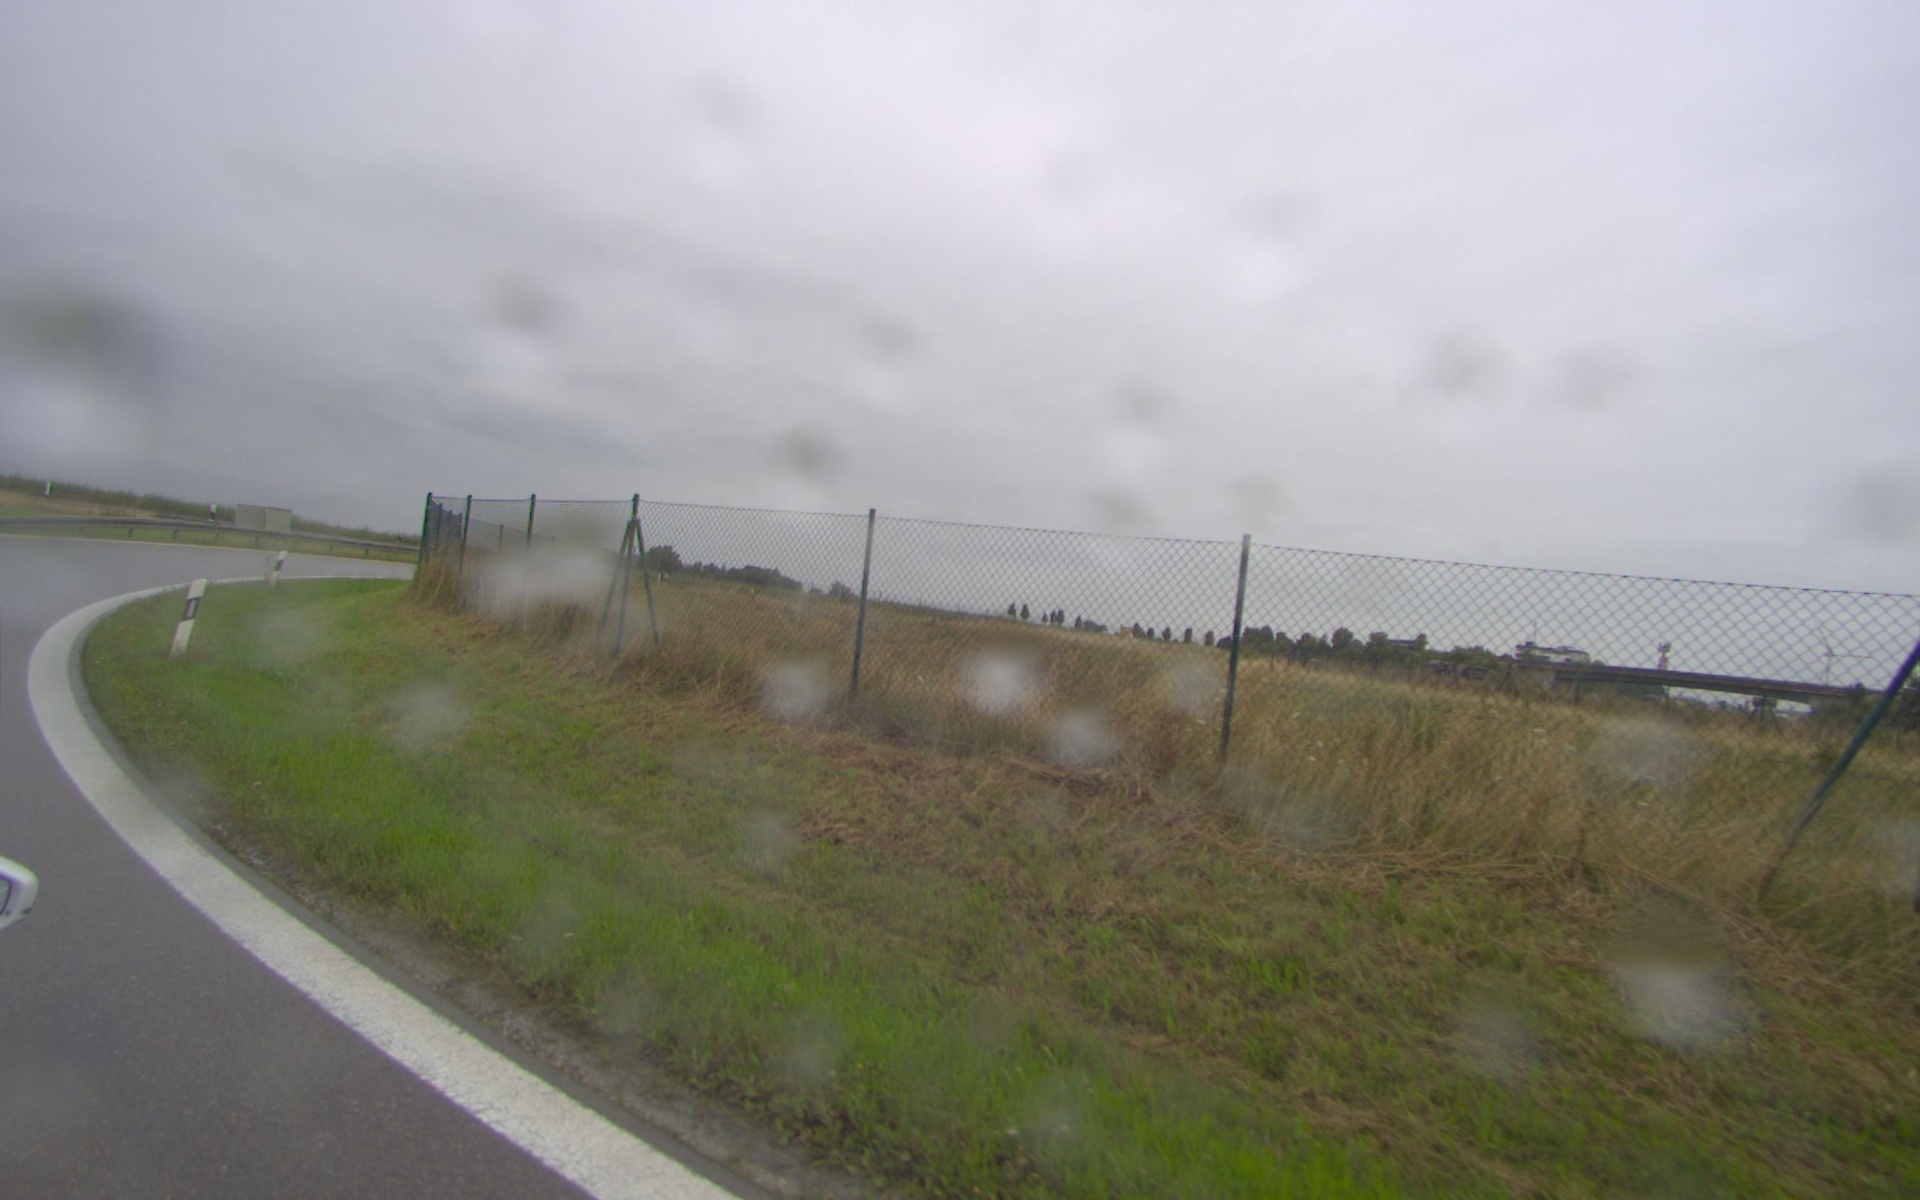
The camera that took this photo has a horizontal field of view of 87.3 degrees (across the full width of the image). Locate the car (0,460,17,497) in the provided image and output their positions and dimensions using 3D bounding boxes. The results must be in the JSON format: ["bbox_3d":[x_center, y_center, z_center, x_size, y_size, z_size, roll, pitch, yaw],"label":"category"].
[{"bbox_3d":[-47.453,-6.084,47.217,4.313,1.656,2.039,8,-1,-37],"label":"car"}]
